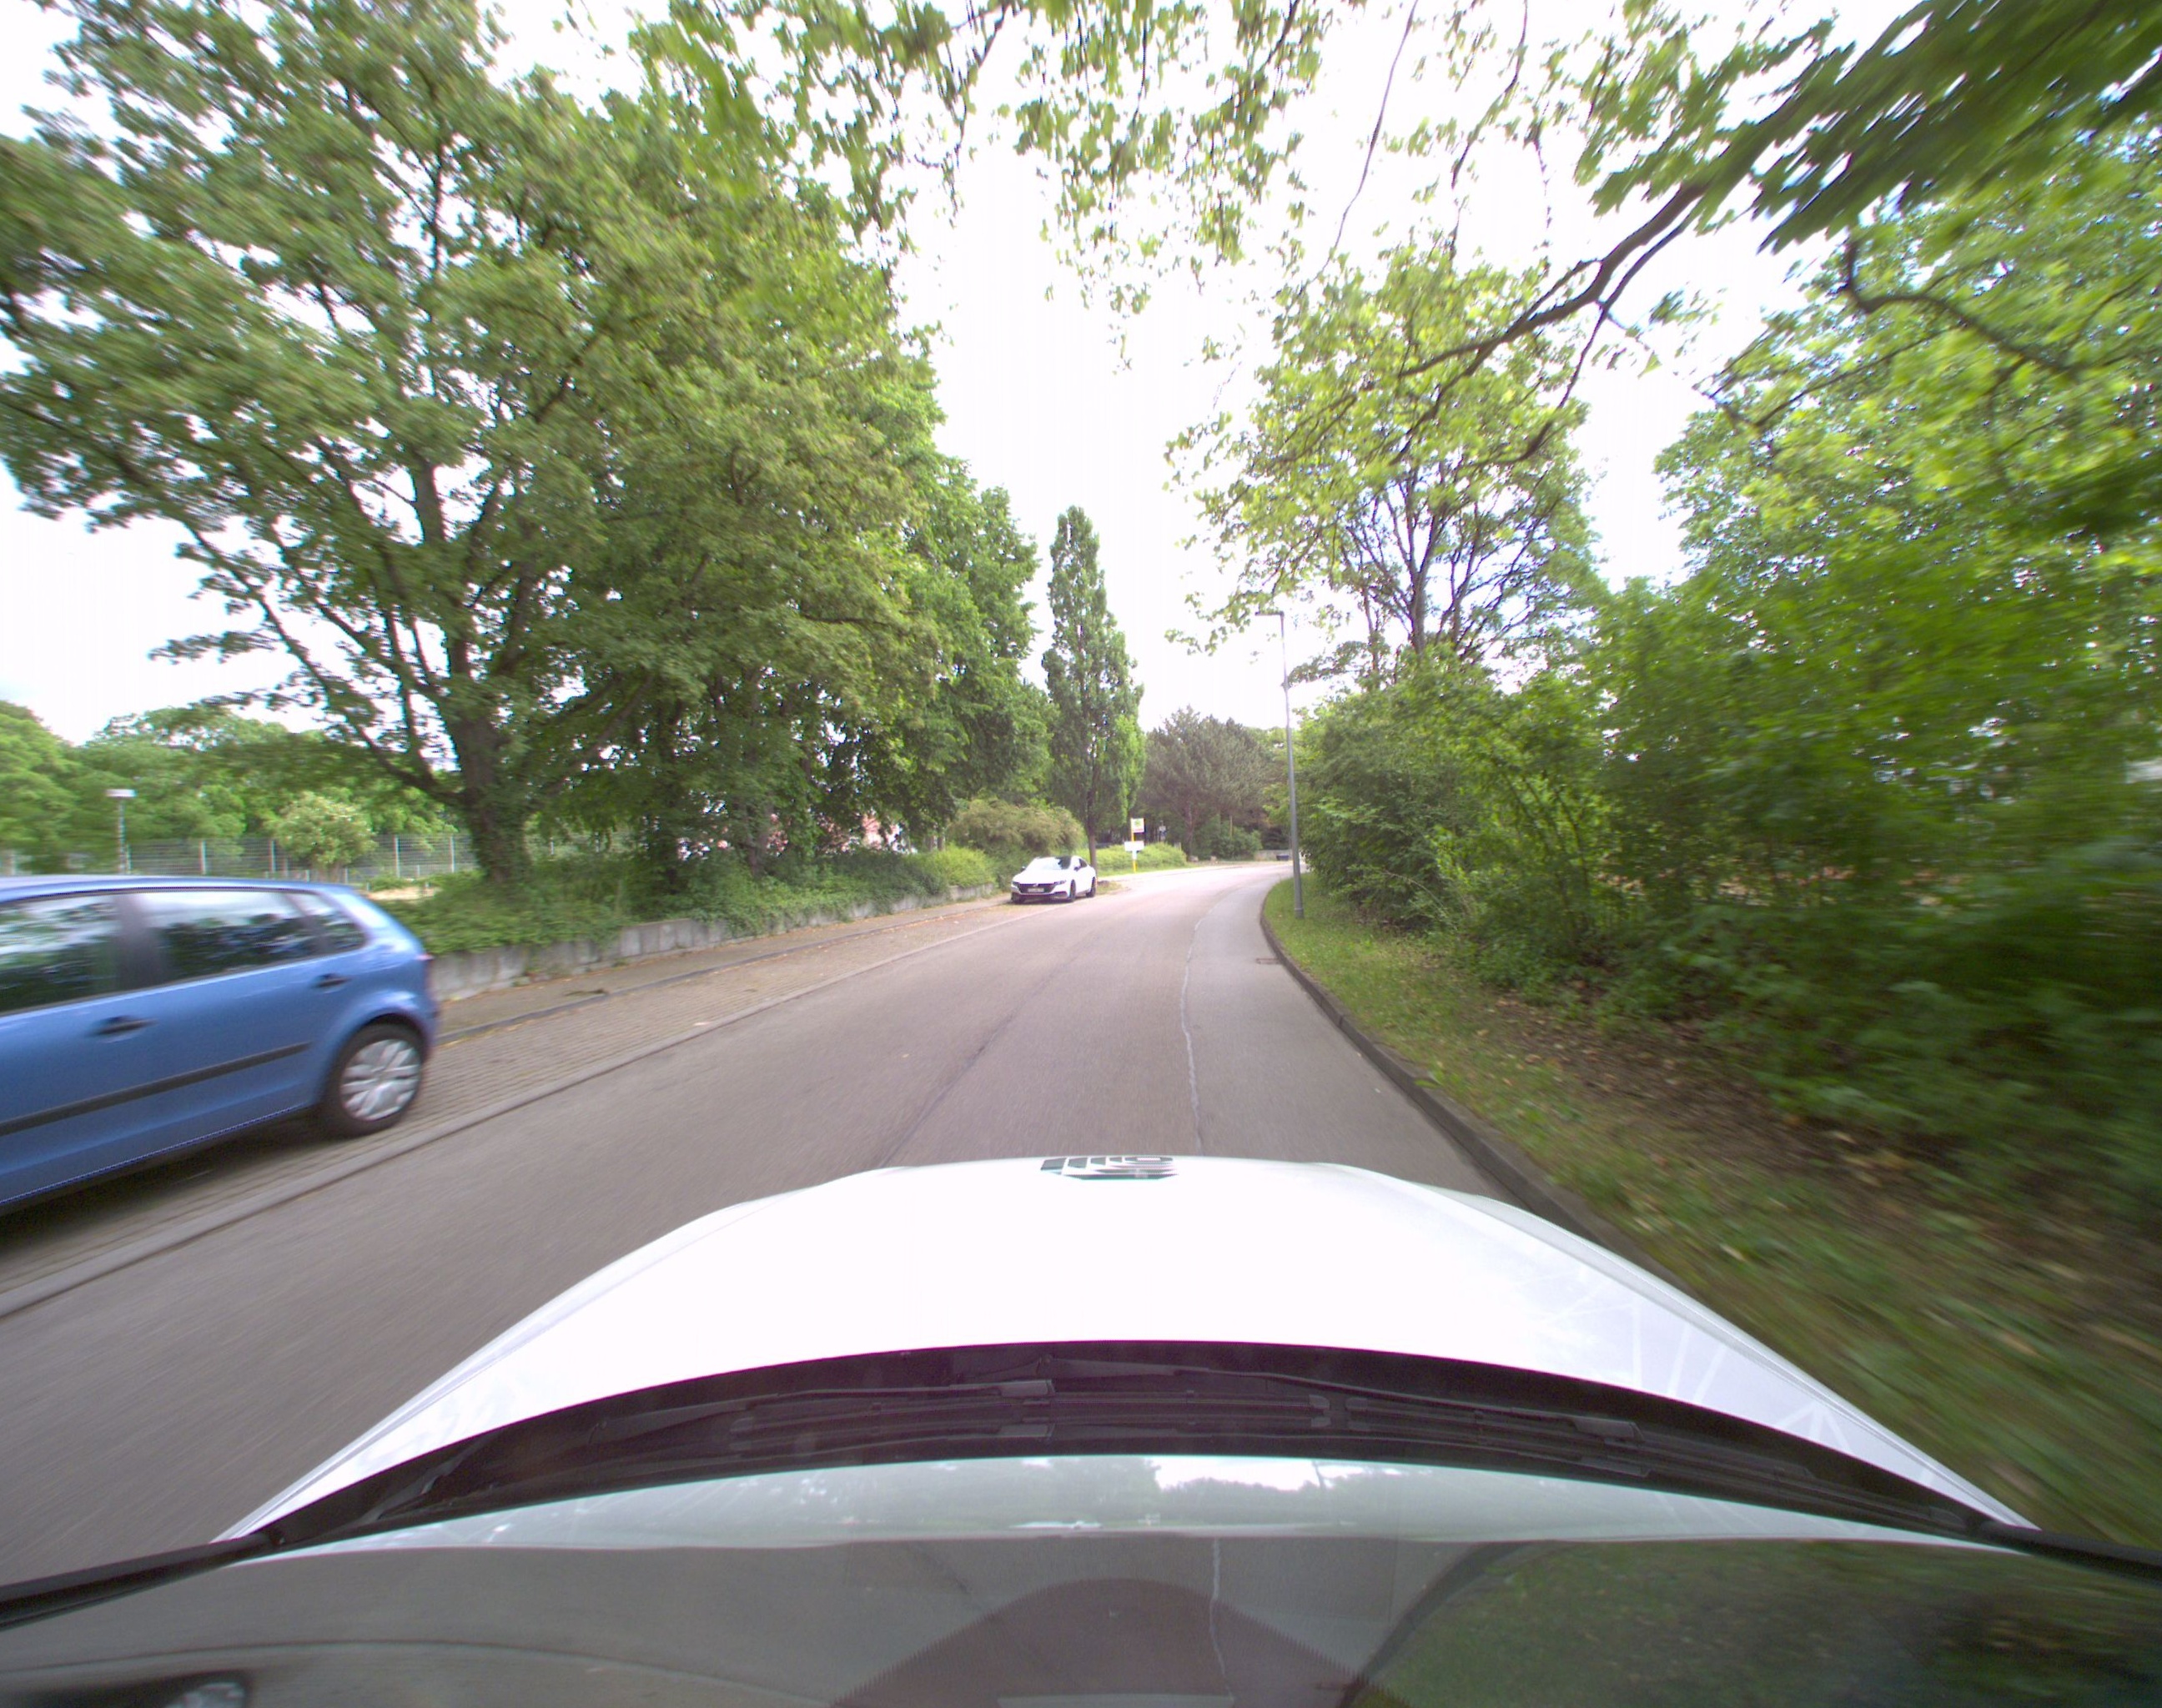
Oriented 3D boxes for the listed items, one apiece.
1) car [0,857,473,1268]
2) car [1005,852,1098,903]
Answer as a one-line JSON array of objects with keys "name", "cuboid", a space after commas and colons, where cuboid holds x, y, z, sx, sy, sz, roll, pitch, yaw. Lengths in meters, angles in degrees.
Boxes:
[{"name": "car", "cuboid": [-4.653, 0.785, 3.240, 1.527, 1.459, 3.722, -2, 0, 2]}, {"name": "car", "cuboid": [-0.823, 0.686, 25.736, 1.801, 1.424, 4.376, -1, 0, 13]}]
